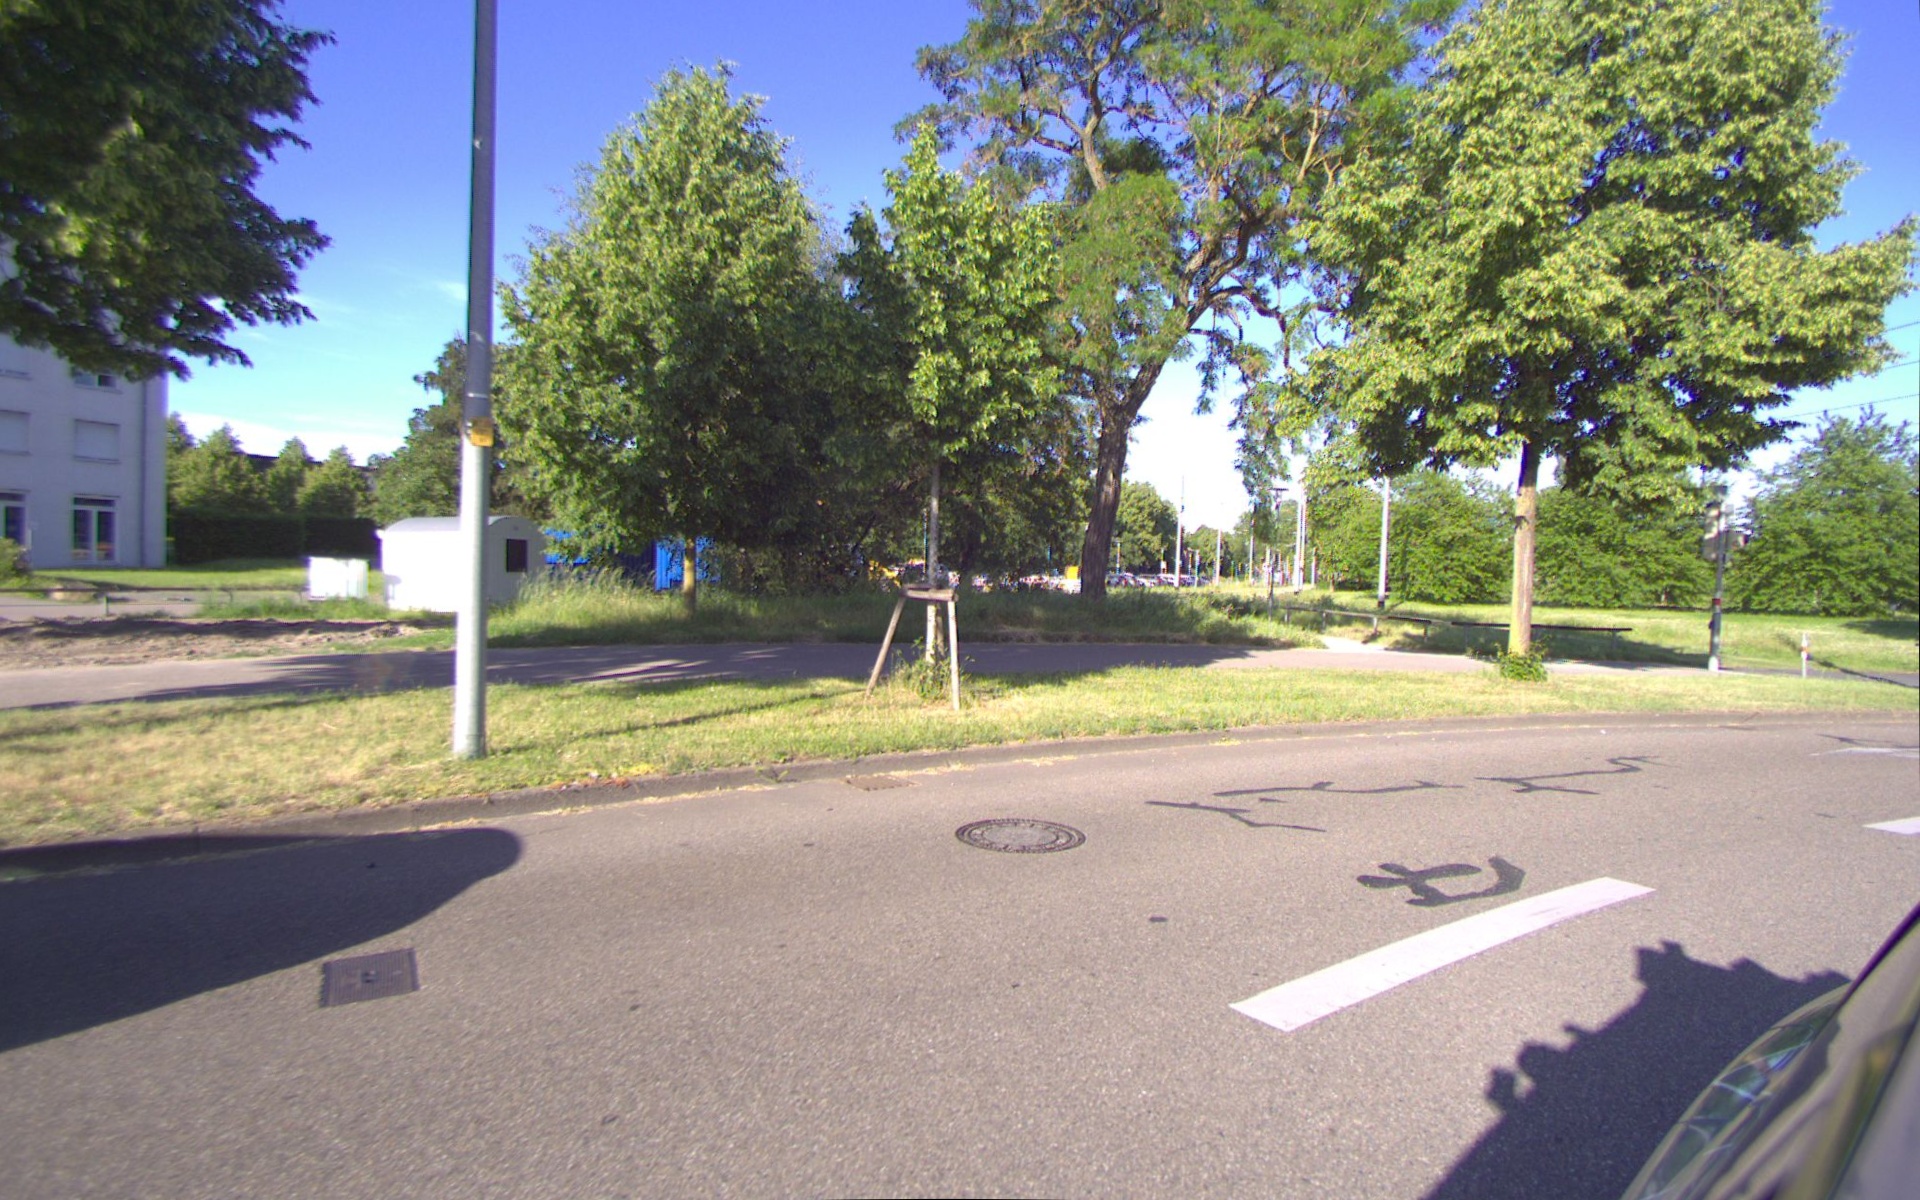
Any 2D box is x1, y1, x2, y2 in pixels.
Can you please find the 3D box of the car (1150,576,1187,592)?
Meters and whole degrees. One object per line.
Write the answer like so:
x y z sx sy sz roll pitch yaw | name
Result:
24.119 -1.895 117.196 3.953 1.778 1.901 1 0 22 | car

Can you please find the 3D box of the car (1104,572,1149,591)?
15.945 -1.807 97.099 3.953 1.778 1.901 1 0 22 | car

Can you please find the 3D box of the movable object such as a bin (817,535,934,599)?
-3.828 -1.475 46.018 4.968 2.824 1.993 1 0 11 | movable object such as a bin

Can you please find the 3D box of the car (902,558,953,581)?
-2.630 -2.422 81.937 3.807 1.802 1.680 1 0 26 | car

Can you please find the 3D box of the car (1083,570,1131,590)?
13.279 -1.788 91.582 3.953 1.778 1.985 1 0 22 | car

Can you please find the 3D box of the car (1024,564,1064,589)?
9.298 -2.565 111.601 3.953 2.686 1.985 1 0 22 | car

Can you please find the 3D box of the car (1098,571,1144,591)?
15.093 -1.796 94.749 3.953 1.778 1.901 1 0 22 | car

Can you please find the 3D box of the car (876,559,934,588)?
-4.190 -2.023 77.514 3.953 2.126 1.985 1 0 22 | car

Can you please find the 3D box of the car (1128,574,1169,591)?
19.664 -1.842 105.613 3.953 1.778 1.901 1 0 22 | car

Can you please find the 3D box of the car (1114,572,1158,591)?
17.235 -1.812 99.264 3.953 1.778 1.901 1 0 22 | car
